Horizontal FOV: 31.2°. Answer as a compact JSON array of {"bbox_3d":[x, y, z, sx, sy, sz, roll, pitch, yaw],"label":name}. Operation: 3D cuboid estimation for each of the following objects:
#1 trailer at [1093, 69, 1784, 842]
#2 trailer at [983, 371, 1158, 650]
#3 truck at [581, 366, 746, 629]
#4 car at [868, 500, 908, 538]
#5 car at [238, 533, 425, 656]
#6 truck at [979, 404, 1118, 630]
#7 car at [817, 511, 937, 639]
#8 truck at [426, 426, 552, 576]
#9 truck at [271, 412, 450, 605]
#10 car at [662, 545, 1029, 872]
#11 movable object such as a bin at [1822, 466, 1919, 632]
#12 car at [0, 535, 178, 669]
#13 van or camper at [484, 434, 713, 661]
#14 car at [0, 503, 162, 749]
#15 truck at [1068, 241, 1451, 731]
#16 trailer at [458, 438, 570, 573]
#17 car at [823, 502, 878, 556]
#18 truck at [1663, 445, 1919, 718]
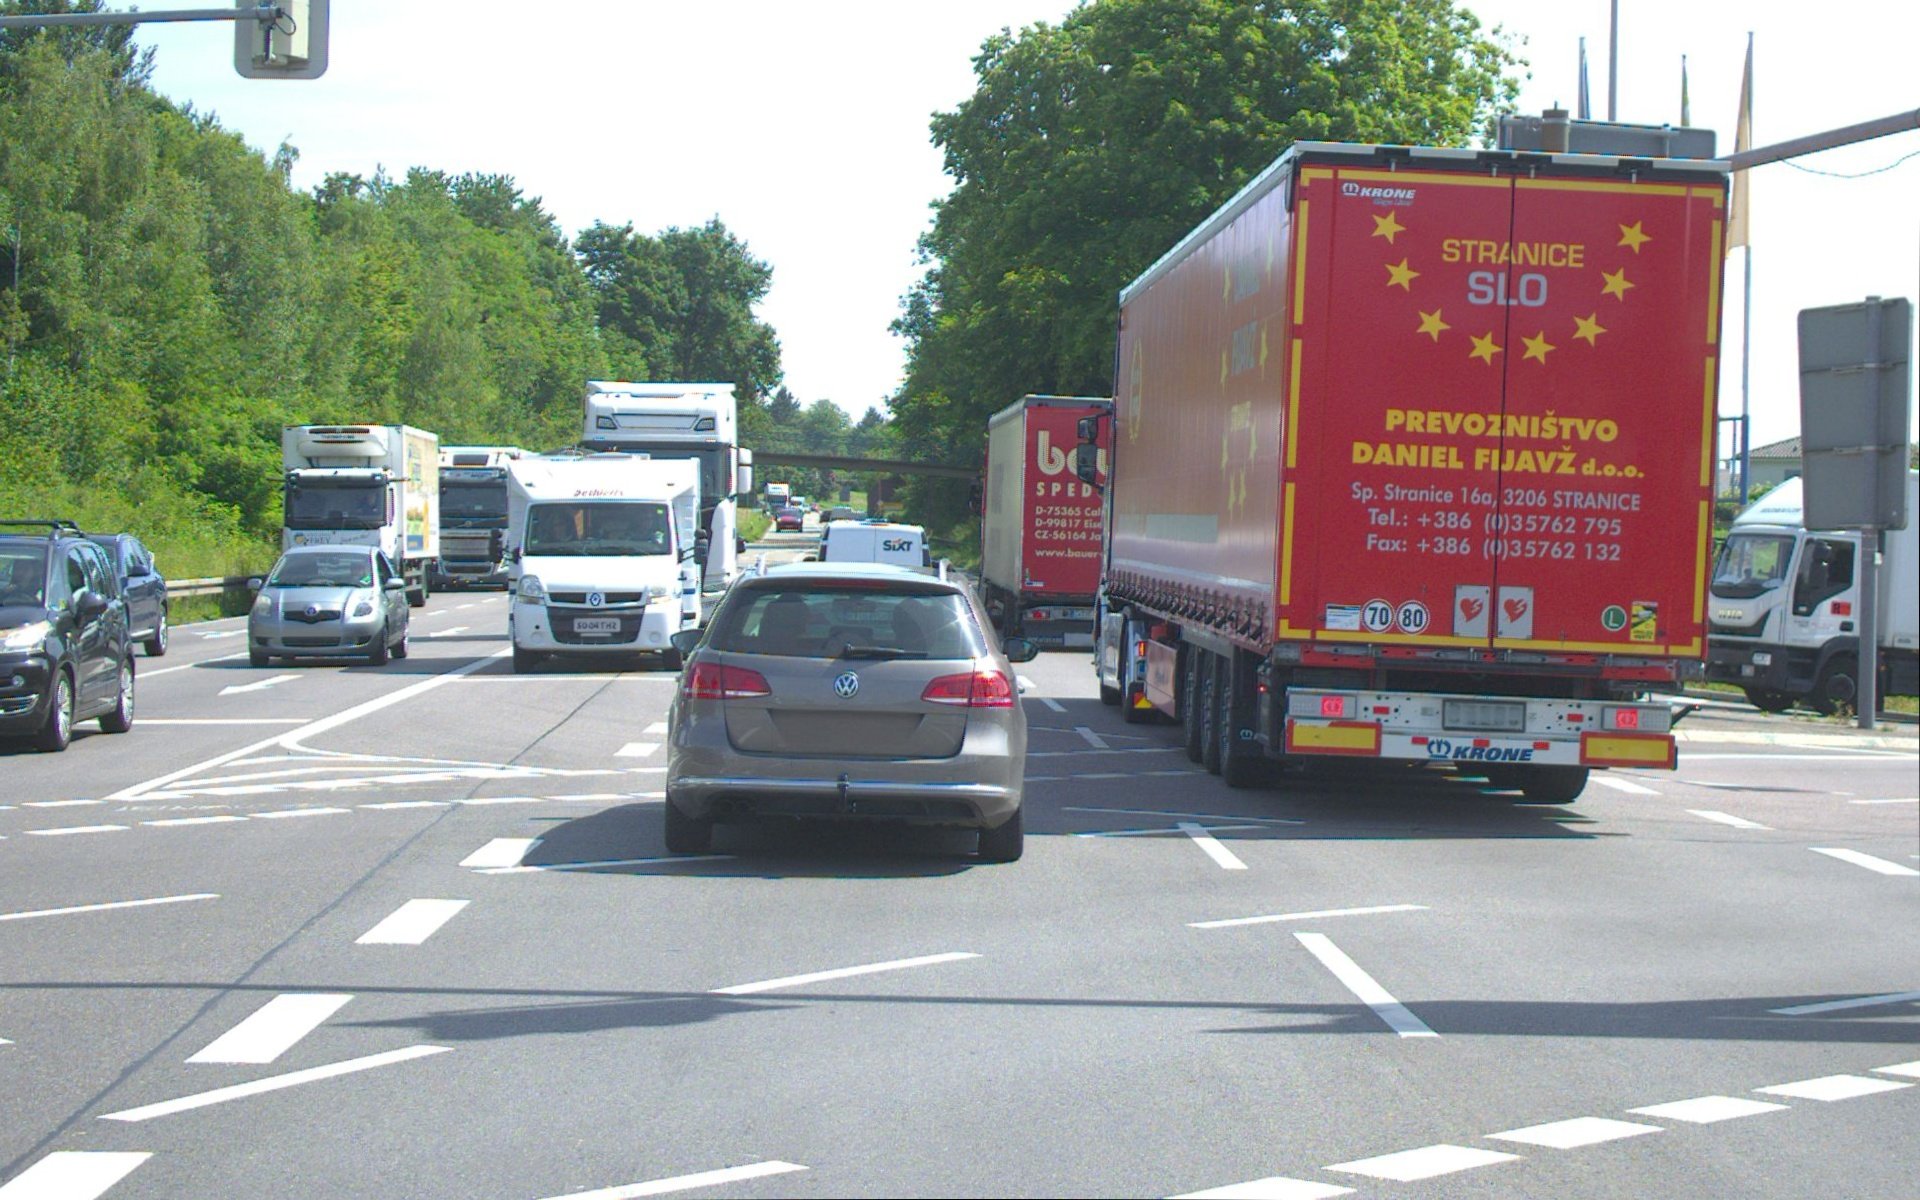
[{"bbox_3d":[3.024,-0.938,26.451,2.839,4.350,13.169,2,1,-2],"label":"trailer"},{"bbox_3d":[1.723,-1.462,58.766,2.395,4.229,13.079,0,1,-1],"label":"trailer"},{"bbox_3d":[-4.789,-1.639,56.463,2.536,4.074,6.267,0,1,-4],"label":"truck"},{"bbox_3d":[-3.857,-4.331,183.901,1.993,2.007,4.001,0,1,-3],"label":"car"},{"bbox_3d":[-7.988,-0.100,43.991,1.725,1.497,4.000,0,1,-1],"label":"car"},{"bbox_3d":[1.634,-1.564,65.624,2.406,4.113,5.521,0,1,-1],"label":"truck"},{"bbox_3d":[-1.339,-0.406,54.106,1.770,1.930,3.978,0,1,-3],"label":"car"},{"bbox_3d":[-13.512,-2.806,99.250,2.829,4.102,9.684,0,1,-3],"label":"truck"},{"bbox_3d":[-13.119,-1.963,75.943,2.729,3.985,9.621,0,1,-3],"label":"truck"},{"bbox_3d":[-0.633,0.471,17.911,1.691,1.508,4.001,0,1,-3],"label":"car"},{"bbox_3d":[19.889,-1.017,68.850,2.897,3.197,6.691,1,1,35],"label":"movable object such as a bin"},{"bbox_3d":[-11.586,-0.006,45.069,1.993,1.671,4.308,0,1,-4],"label":"car"},{"bbox_3d":[-4.405,-0.660,42.971,2.330,2.591,6.979,0,1,-2],"label":"van or camper"},{"bbox_3d":[-7.471,0.146,25.999,1.993,1.720,4.000,0,1,-1],"label":"car"},{"bbox_3d":[2.770,-1.063,33.660,2.870,4.266,5.840,2,1,-2],"label":"truck"},{"bbox_3d":[-13.997,-2.925,108.475,2.840,4.055,8.757,0,1,-3],"label":"trailer"},{"bbox_3d":[-4.171,-2.690,130.402,1.993,2.007,4.001,0,1,-3],"label":"car"},{"bbox_3d":[15.511,0.044,50.808,9.667,3.616,2.768,5,-1,-18],"label":"truck"}]
